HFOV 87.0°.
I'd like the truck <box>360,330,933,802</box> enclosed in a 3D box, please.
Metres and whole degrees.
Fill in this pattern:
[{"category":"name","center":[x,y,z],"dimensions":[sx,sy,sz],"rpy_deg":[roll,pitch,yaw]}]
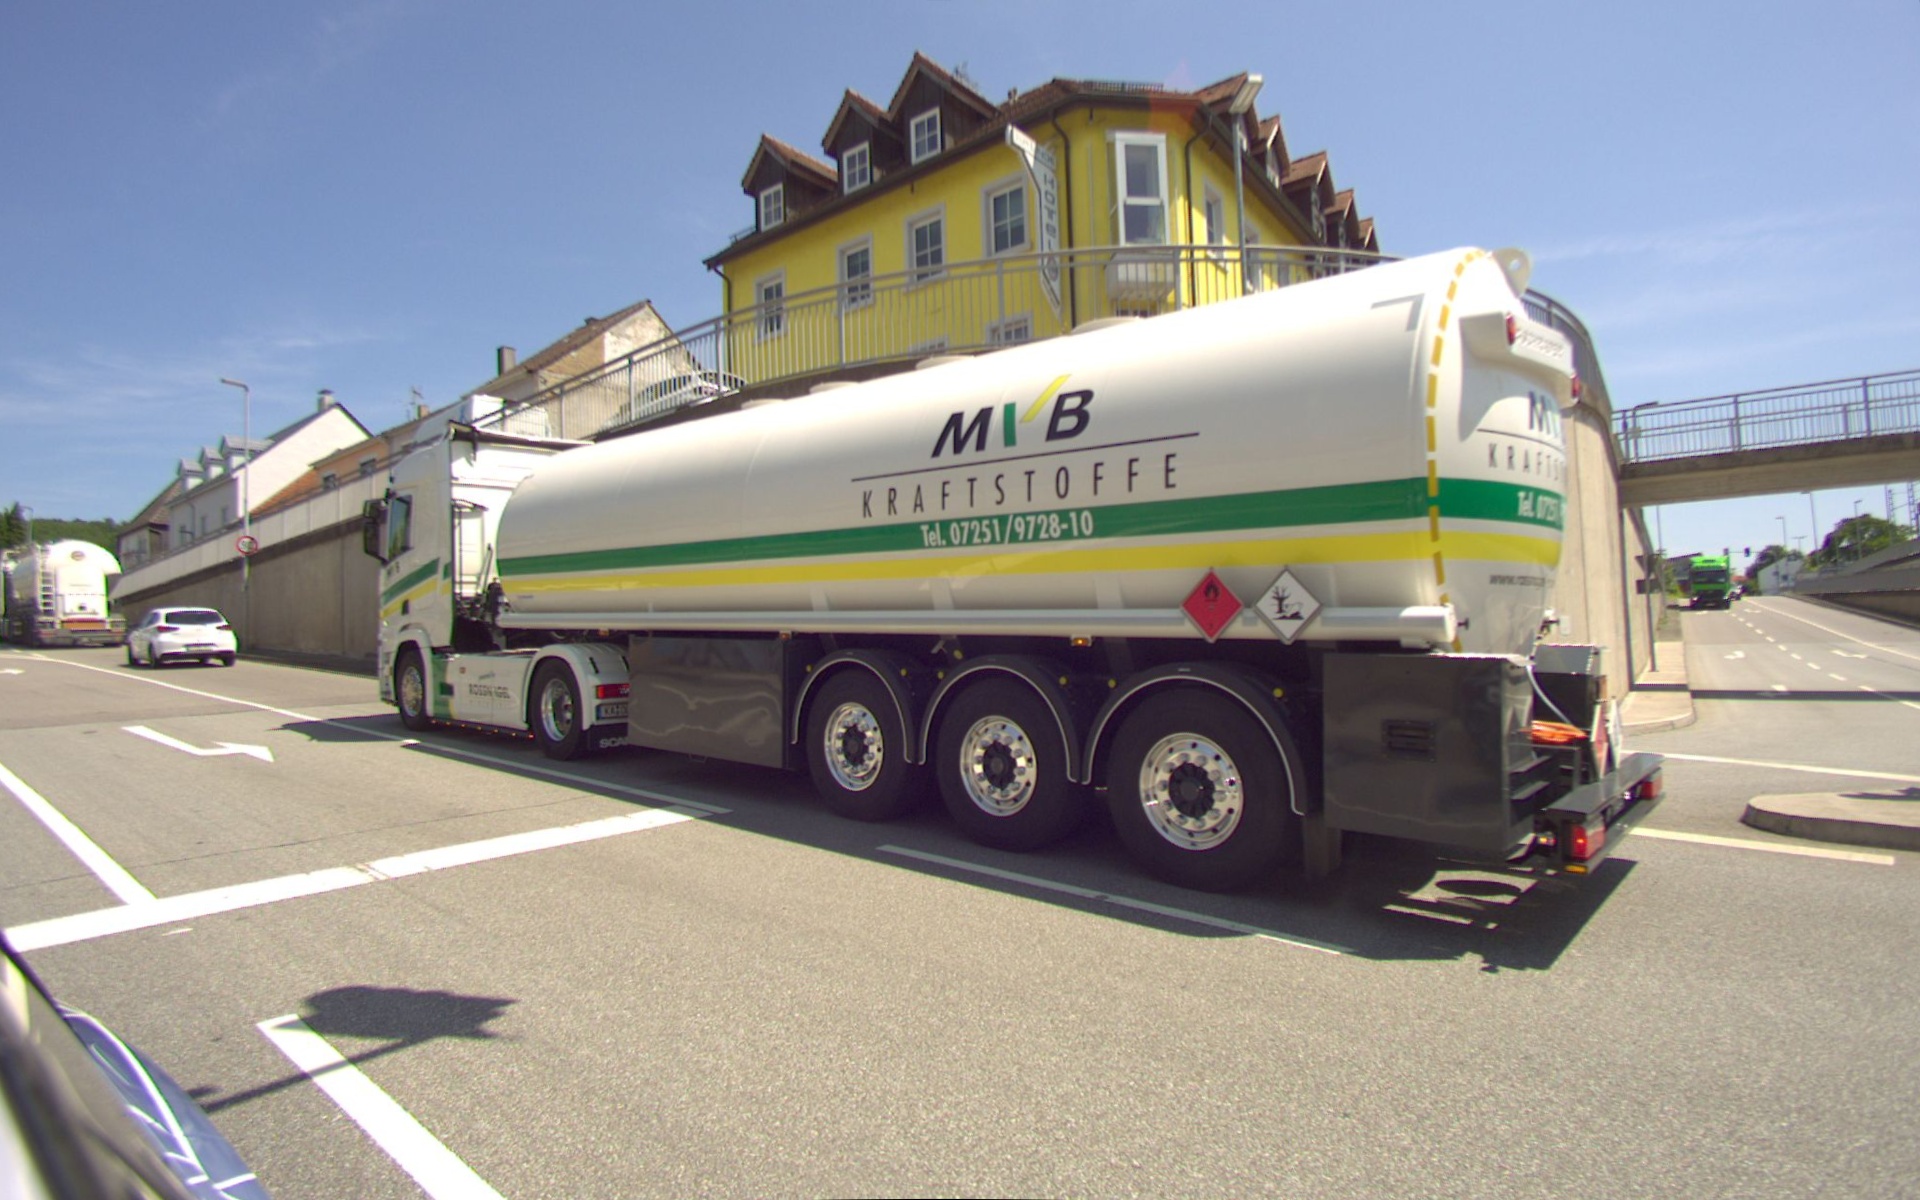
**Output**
[{"category":"truck","center":[-3.916,-0.213,11.344],"dimensions":[7.365,3.691,2.661],"rpy_deg":[-1,-1,41]}]

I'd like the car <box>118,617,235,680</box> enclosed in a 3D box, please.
[{"category":"car","center":[-19.948,1.169,25.721],"dimensions":[4.093,1.451,1.664],"rpy_deg":[0,-1,42]}]

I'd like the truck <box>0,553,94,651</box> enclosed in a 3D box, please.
[{"category":"truck","center":[-39.225,0.124,43.155],"dimensions":[6.578,3.890,2.633],"rpy_deg":[-1,-1,42]}]

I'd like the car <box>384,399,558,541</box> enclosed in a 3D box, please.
[{"category":"car","center":[-12.442,-3.087,25.527],"dimensions":[5.662,2.556,2.042],"rpy_deg":[-5,-3,44]}]

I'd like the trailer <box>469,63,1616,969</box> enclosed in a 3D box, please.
[{"category":"trailer","center":[-0.625,-0.273,8.418],"dimensions":[9.885,3.691,2.661],"rpy_deg":[-1,-1,42]}]

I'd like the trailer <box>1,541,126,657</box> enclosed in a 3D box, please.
[{"category":"trailer","center":[-34.765,0.011,39.090],"dimensions":[9.344,3.994,2.582],"rpy_deg":[-1,-1,42]}]

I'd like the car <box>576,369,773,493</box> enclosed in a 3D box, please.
[{"category":"car","center":[-5.605,-3.166,19.642],"dimensions":[4.039,1.512,1.603],"rpy_deg":[-5,-3,39]}]

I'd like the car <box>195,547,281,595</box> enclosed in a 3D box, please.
[{"category":"car","center":[-28.719,-1.100,40.213],"dimensions":[4.307,1.474,1.794],"rpy_deg":[-5,-4,41]}]
